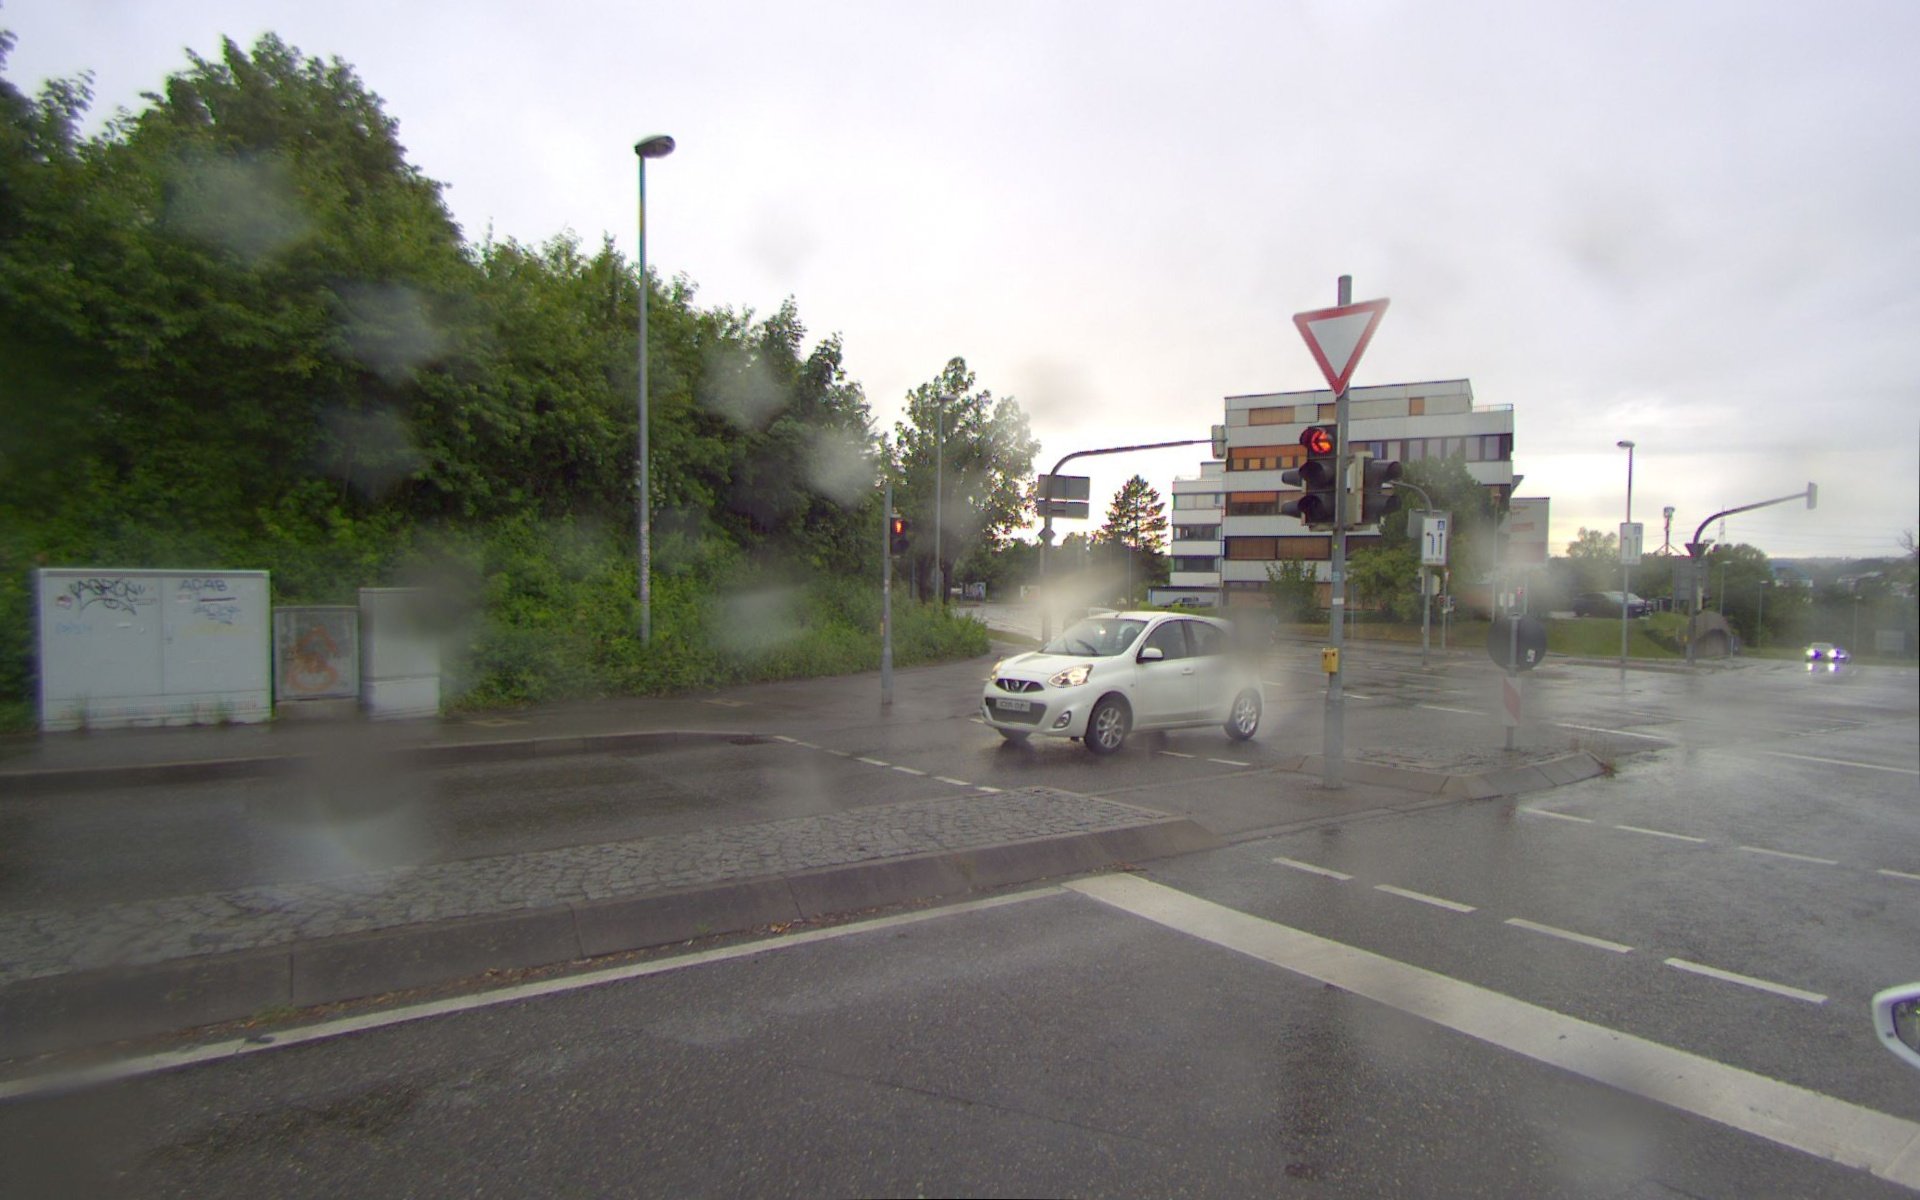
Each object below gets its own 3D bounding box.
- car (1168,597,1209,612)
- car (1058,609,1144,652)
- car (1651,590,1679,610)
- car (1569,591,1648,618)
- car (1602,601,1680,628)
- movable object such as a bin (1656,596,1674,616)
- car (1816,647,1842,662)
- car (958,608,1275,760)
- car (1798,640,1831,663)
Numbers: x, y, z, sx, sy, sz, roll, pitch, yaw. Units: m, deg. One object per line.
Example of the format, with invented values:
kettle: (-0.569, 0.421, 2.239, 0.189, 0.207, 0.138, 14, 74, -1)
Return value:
car: (21.915, 0.421, 96.269, 3.686, 1.418, 2.000, 1, 1, 19)
car: (5.041, 1.065, 36.624, 1.731, 1.381, 4.523, 2, 0, -11)
car: (60.907, 0.022, 86.849, 1.802, 1.461, 3.990, 3, -1, 33)
car: (42.440, 0.290, 65.808, 1.874, 1.607, 3.981, 4, 0, -21)
car: (44.953, 0.921, 66.395, 1.872, 1.607, 3.985, 4, 0, -17)
movable object such as a bin: (55.729, 0.483, 79.387, 1.069, 1.456, 1.443, 3, 0, 34)
car: (94.735, 5.979, 109.526, 3.971, 1.514, 1.704, 3, -1, -43)
car: (1.946, 0.879, 11.905, 3.789, 1.525, 1.608, 1, -1, -39)
car: (63.451, 3.800, 74.619, 1.641, 1.514, 3.984, 2, -1, 38)
